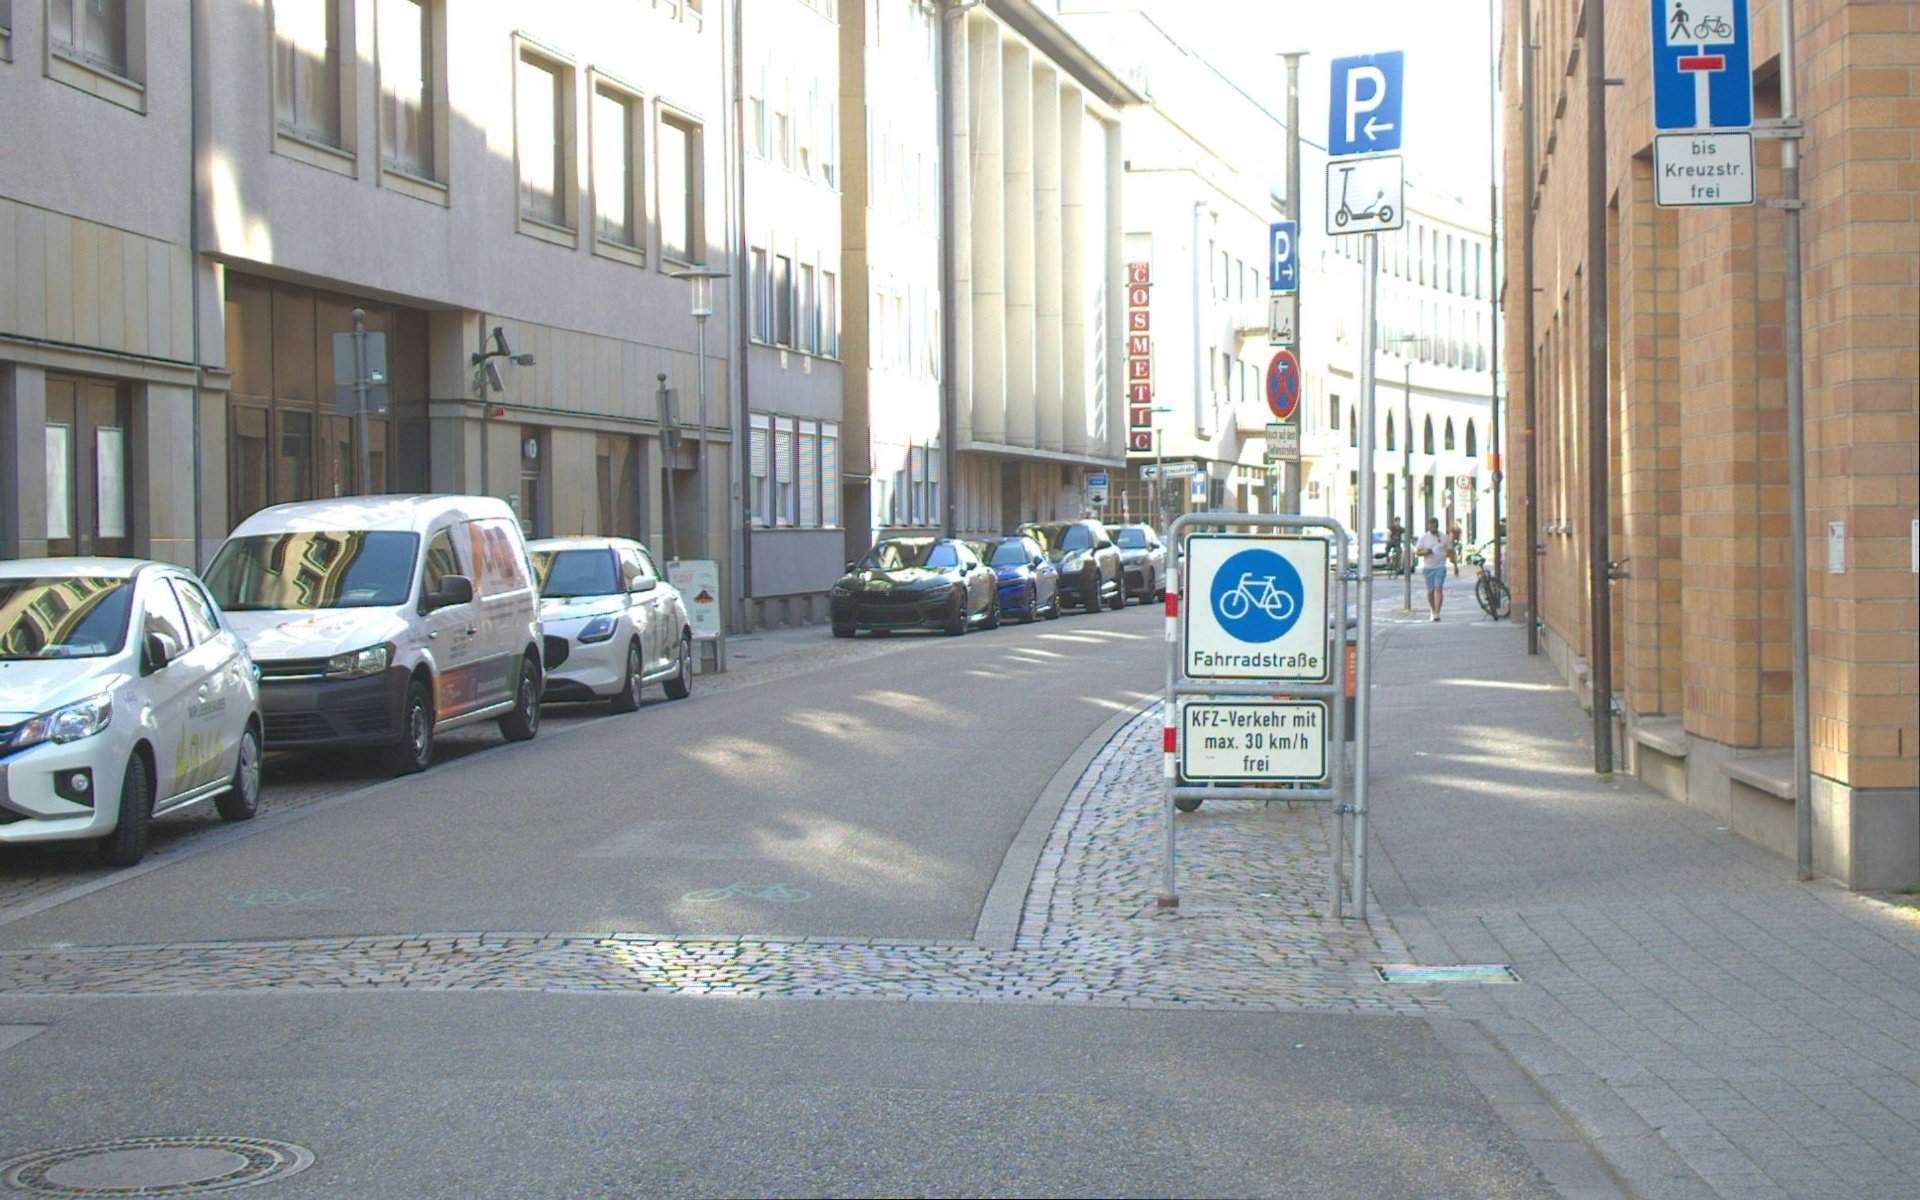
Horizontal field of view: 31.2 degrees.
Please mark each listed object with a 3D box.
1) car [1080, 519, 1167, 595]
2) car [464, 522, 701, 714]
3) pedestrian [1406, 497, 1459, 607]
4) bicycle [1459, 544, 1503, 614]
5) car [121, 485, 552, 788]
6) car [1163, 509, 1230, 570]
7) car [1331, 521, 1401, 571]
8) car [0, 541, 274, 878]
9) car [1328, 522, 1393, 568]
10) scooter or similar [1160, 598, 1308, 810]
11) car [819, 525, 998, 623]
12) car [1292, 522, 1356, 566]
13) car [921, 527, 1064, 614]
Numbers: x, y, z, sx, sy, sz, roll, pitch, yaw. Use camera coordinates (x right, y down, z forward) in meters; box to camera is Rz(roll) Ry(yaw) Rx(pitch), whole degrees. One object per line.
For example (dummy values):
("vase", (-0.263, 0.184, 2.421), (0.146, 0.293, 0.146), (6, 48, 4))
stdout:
("car", (3.344, -0.896, 69.788), (1.339, 1.489, 3.509), (-1, 1, 10))
("car", (-3.199, 0.110, 29.634), (1.271, 1.501, 3.401), (-2, 1, 6))
("pedestrian", (7.554, -0.768, 55.007), (0.664, 1.724, 0.840), (2, 1, -1))
("bicycle", (7.664, -0.322, 50.669), (0.511, 0.990, 2.647), (0, 1, 6))
("car", (-4.115, 0.169, 23.448), (1.670, 1.812, 4.551), (-2, 1, 5))
("car", (5.996, -1.532, 86.926), (1.339, 1.489, 3.346), (-1, 1, 10))
("car", (11.809, -1.581, 99.862), (1.690, 1.365, 3.616), (-1, 1, 12))
("car", (-4.755, 0.491, 17.588), (1.670, 1.501, 3.794), (-2, 1, 0))
("car", (12.502, -1.720, 107.183), (1.690, 1.365, 3.616), (-1, 1, 12))
("scooter or similar", (1.512, 0.571, 19.001), (0.771, 1.132, 0.269), (2, 1, 2))
("car", (-0.702, -0.408, 50.060), (1.882, 1.327, 4.099), (-1, 1, 10))
("car", (11.837, -1.827, 111.643), (1.690, 1.365, 3.616), (-1, 1, 12))
("car", (0.574, -0.514, 56.620), (1.725, 1.336, 3.999), (-1, 1, 10))
